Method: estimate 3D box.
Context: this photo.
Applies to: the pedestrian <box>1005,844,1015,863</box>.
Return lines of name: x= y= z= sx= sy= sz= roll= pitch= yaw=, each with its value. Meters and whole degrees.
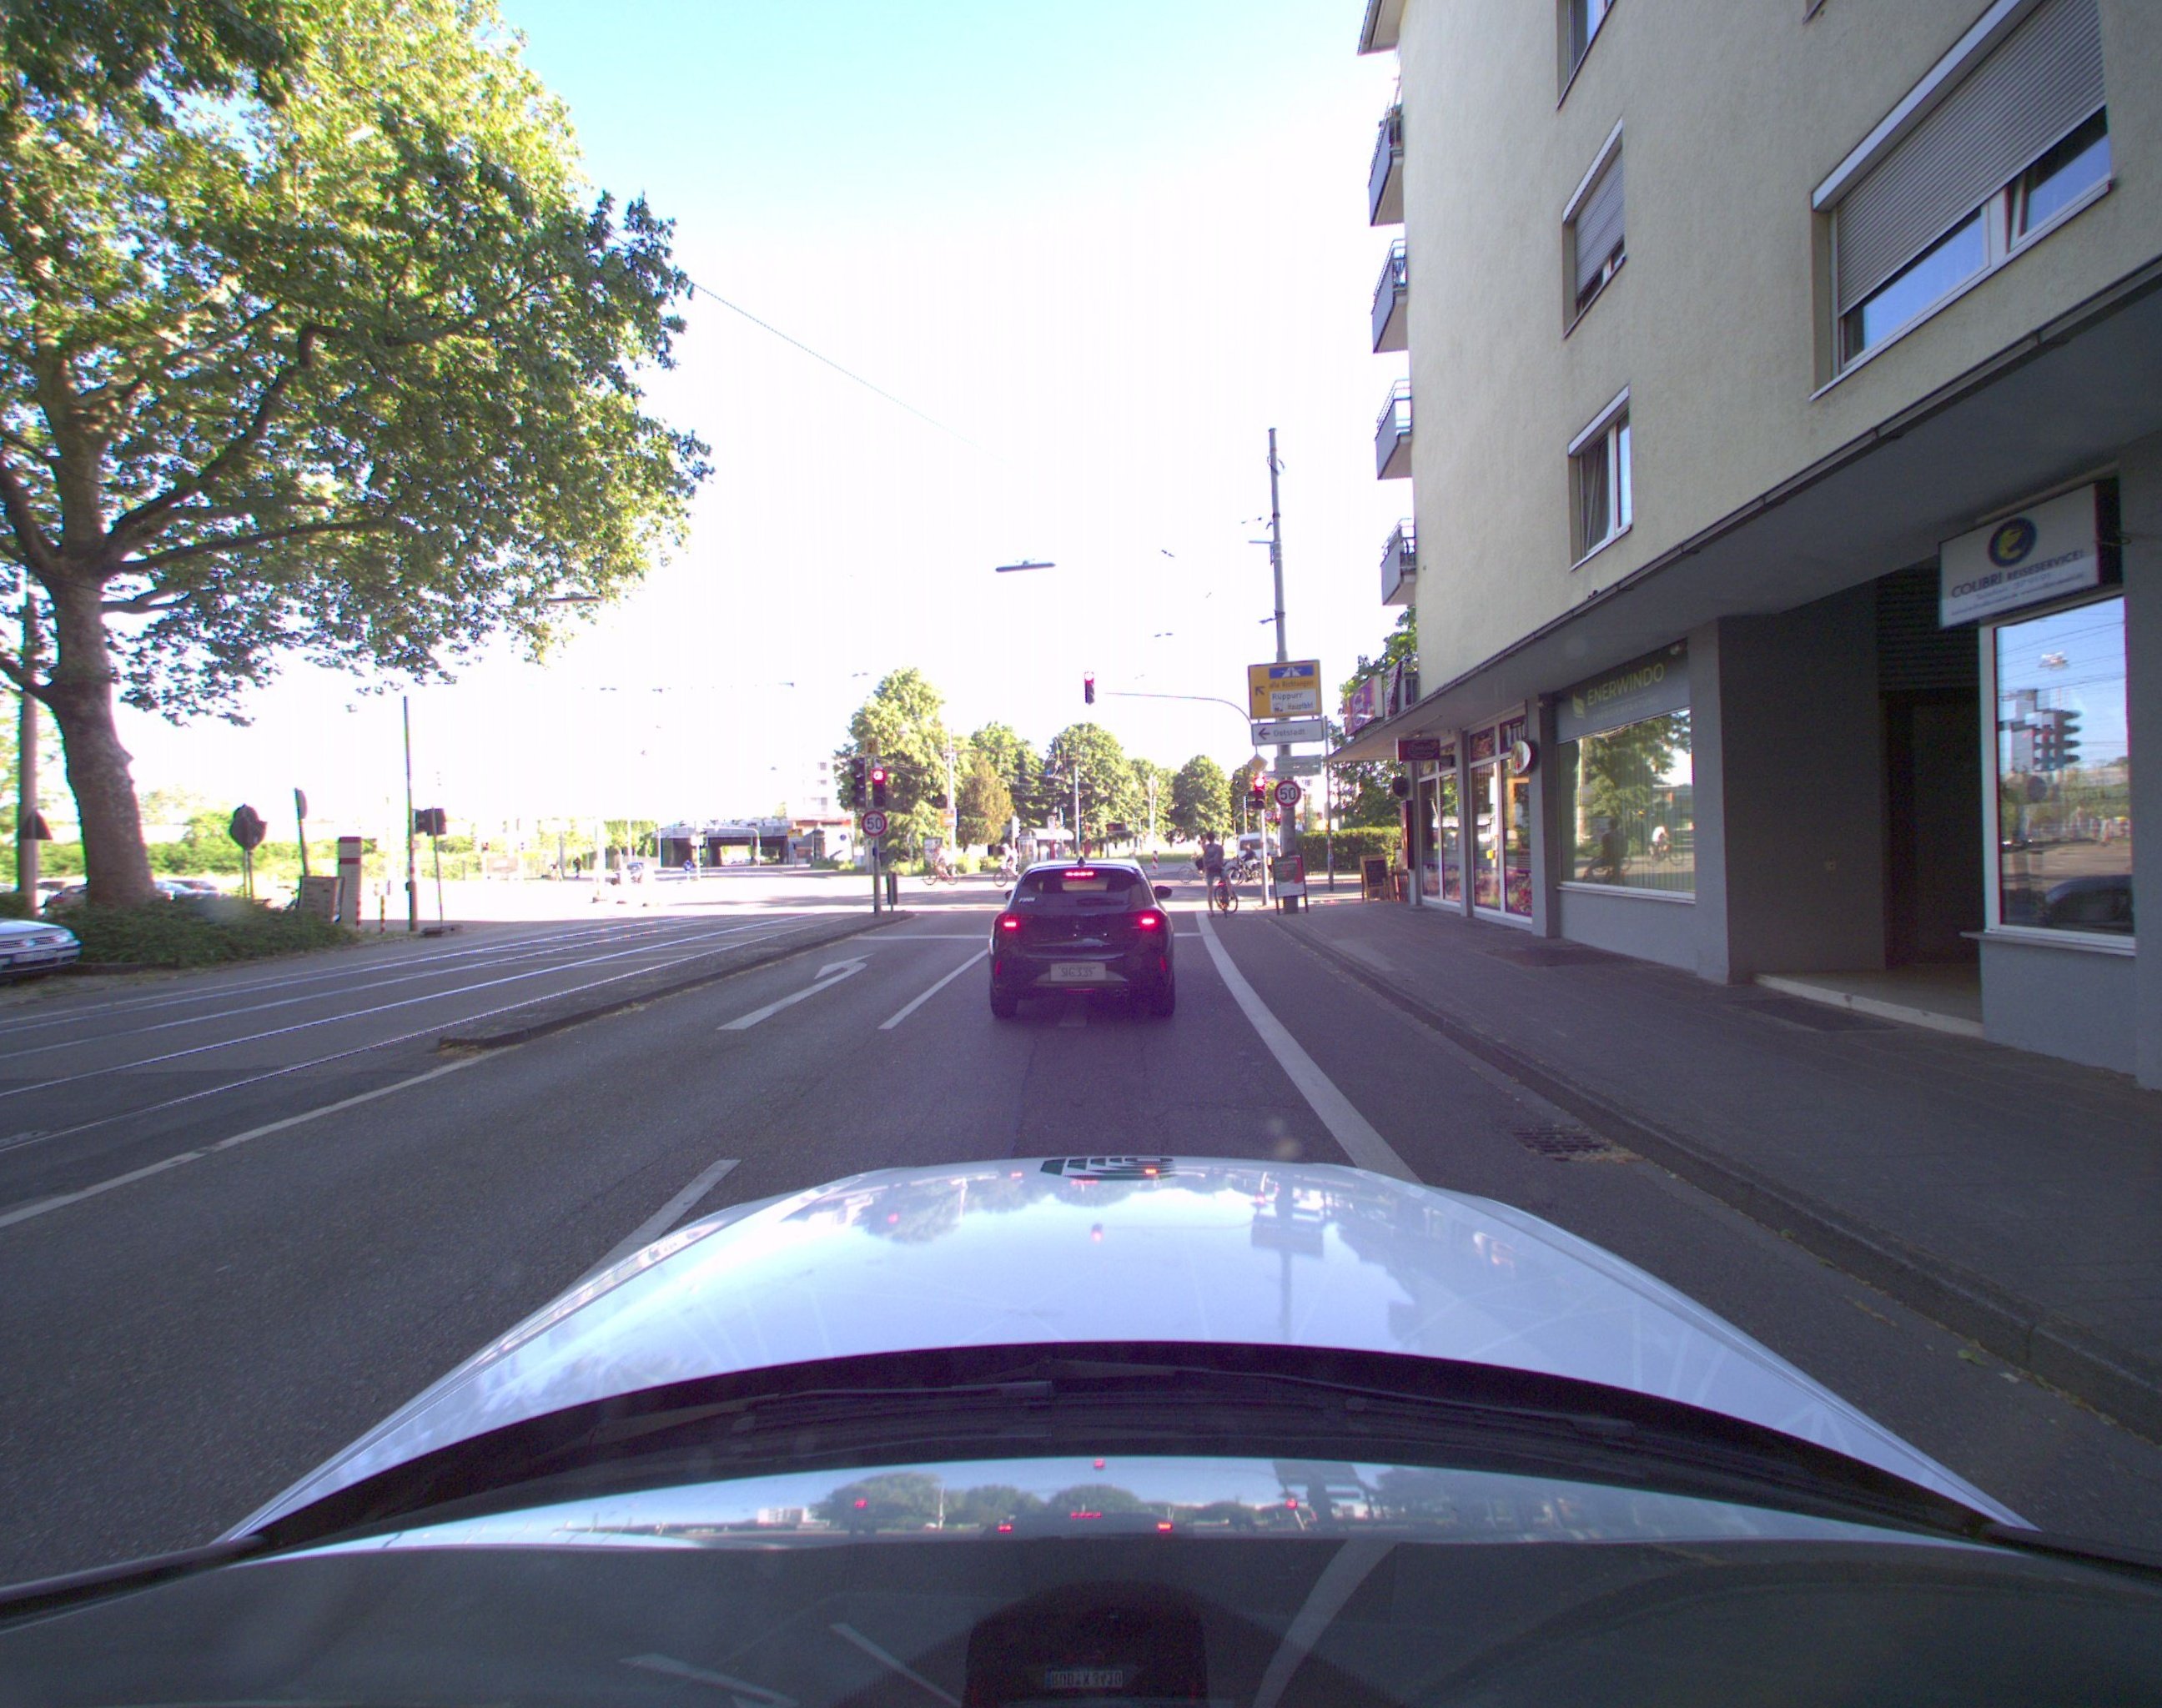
pedestrian: x=-6.115 y=-0.077 z=69.932 sx=0.746 sy=1.629 sz=0.599 roll=0 pitch=-1 yaw=8

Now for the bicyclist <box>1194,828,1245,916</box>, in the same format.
bicyclist: x=3.021 y=0.374 z=17.842 sx=0.938 sy=1.851 sz=0.864 roll=-2 pitch=0 yaw=1

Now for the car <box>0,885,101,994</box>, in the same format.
car: x=-16.950 y=1.205 z=11.368 sx=4.497 sy=1.429 sz=1.676 roll=0 pitch=0 yaw=0

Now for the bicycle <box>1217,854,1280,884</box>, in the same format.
bicycle: x=6.378 y=0.563 z=31.060 sx=2.192 sy=1.033 sz=0.831 roll=-2 pitch=0 yaw=-11

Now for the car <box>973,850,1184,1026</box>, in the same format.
car: x=0.052 y=0.682 z=8.808 sx=1.720 sy=1.429 sz=4.189 roll=-1 pitch=0 yaw=2

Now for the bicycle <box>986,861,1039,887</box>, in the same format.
bicycle: x=-2.880 y=0.837 z=34.205 sx=2.044 sy=0.984 sz=0.675 roll=-2 pitch=0 yaw=12

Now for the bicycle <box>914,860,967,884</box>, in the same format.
bicycle: x=-6.608 y=0.850 z=38.376 sx=2.276 sy=1.084 sz=0.804 roll=-2 pitch=0 yaw=14

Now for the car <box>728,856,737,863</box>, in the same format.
car: x=-98.446 y=1.622 z=229.870 sx=2.223 sy=1.823 sz=4.114 roll=-2 pitch=0 yaw=-24

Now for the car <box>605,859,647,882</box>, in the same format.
car: x=-31.276 y=1.131 z=56.109 sx=1.830 sy=1.519 sz=3.870 roll=0 pitch=0 yaw=-18

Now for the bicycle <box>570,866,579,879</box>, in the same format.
bicycle: x=-41.265 y=1.517 z=66.370 sx=0.585 sy=1.060 sz=2.022 roll=-2 pitch=0 yaw=-30

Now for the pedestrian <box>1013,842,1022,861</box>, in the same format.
pedestrian: x=-5.441 y=-0.232 z=69.909 sx=0.633 sy=1.629 sz=0.573 roll=0 pitch=-1 yaw=9

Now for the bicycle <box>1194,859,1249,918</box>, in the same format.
bicycle: x=3.055 y=0.715 z=17.915 sx=0.857 sy=1.153 sz=2.172 roll=-2 pitch=0 yaw=1

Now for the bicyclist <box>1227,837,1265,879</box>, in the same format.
bicyclist: x=6.286 y=0.152 z=31.028 sx=1.113 sy=1.520 sz=0.918 roll=-2 pitch=0 yaw=-11

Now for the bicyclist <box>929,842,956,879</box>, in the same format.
bicyclist: x=-6.500 y=0.290 z=38.356 sx=0.920 sy=1.707 sz=0.878 roll=-2 pitch=0 yaw=14

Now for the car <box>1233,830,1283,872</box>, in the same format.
car: x=10.154 y=-0.205 z=46.387 sx=2.046 sy=2.248 sz=4.912 roll=-2 pitch=0 yaw=20

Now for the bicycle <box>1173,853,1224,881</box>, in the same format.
bicycle: x=5.001 y=0.550 z=34.537 sx=2.039 sy=1.094 sz=0.595 roll=-2 pitch=0 yaw=15

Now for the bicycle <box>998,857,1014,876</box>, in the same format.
bicycle: x=-4.296 y=0.686 z=46.743 sx=0.603 sy=1.031 sz=1.983 roll=-2 pitch=0 yaw=2

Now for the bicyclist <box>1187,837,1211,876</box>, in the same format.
bicyclist: x=5.002 y=0.113 z=34.537 sx=0.855 sy=1.595 sz=0.652 roll=-2 pitch=0 yaw=15

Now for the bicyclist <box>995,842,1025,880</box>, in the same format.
bicyclist: x=-2.990 y=0.283 z=34.197 sx=1.003 sy=1.570 sz=0.802 roll=-2 pitch=0 yaw=13

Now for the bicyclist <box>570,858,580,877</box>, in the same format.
bicyclist: x=-41.257 y=1.110 z=66.352 sx=0.639 sy=1.563 sz=0.825 roll=-2 pitch=0 yaw=-31
